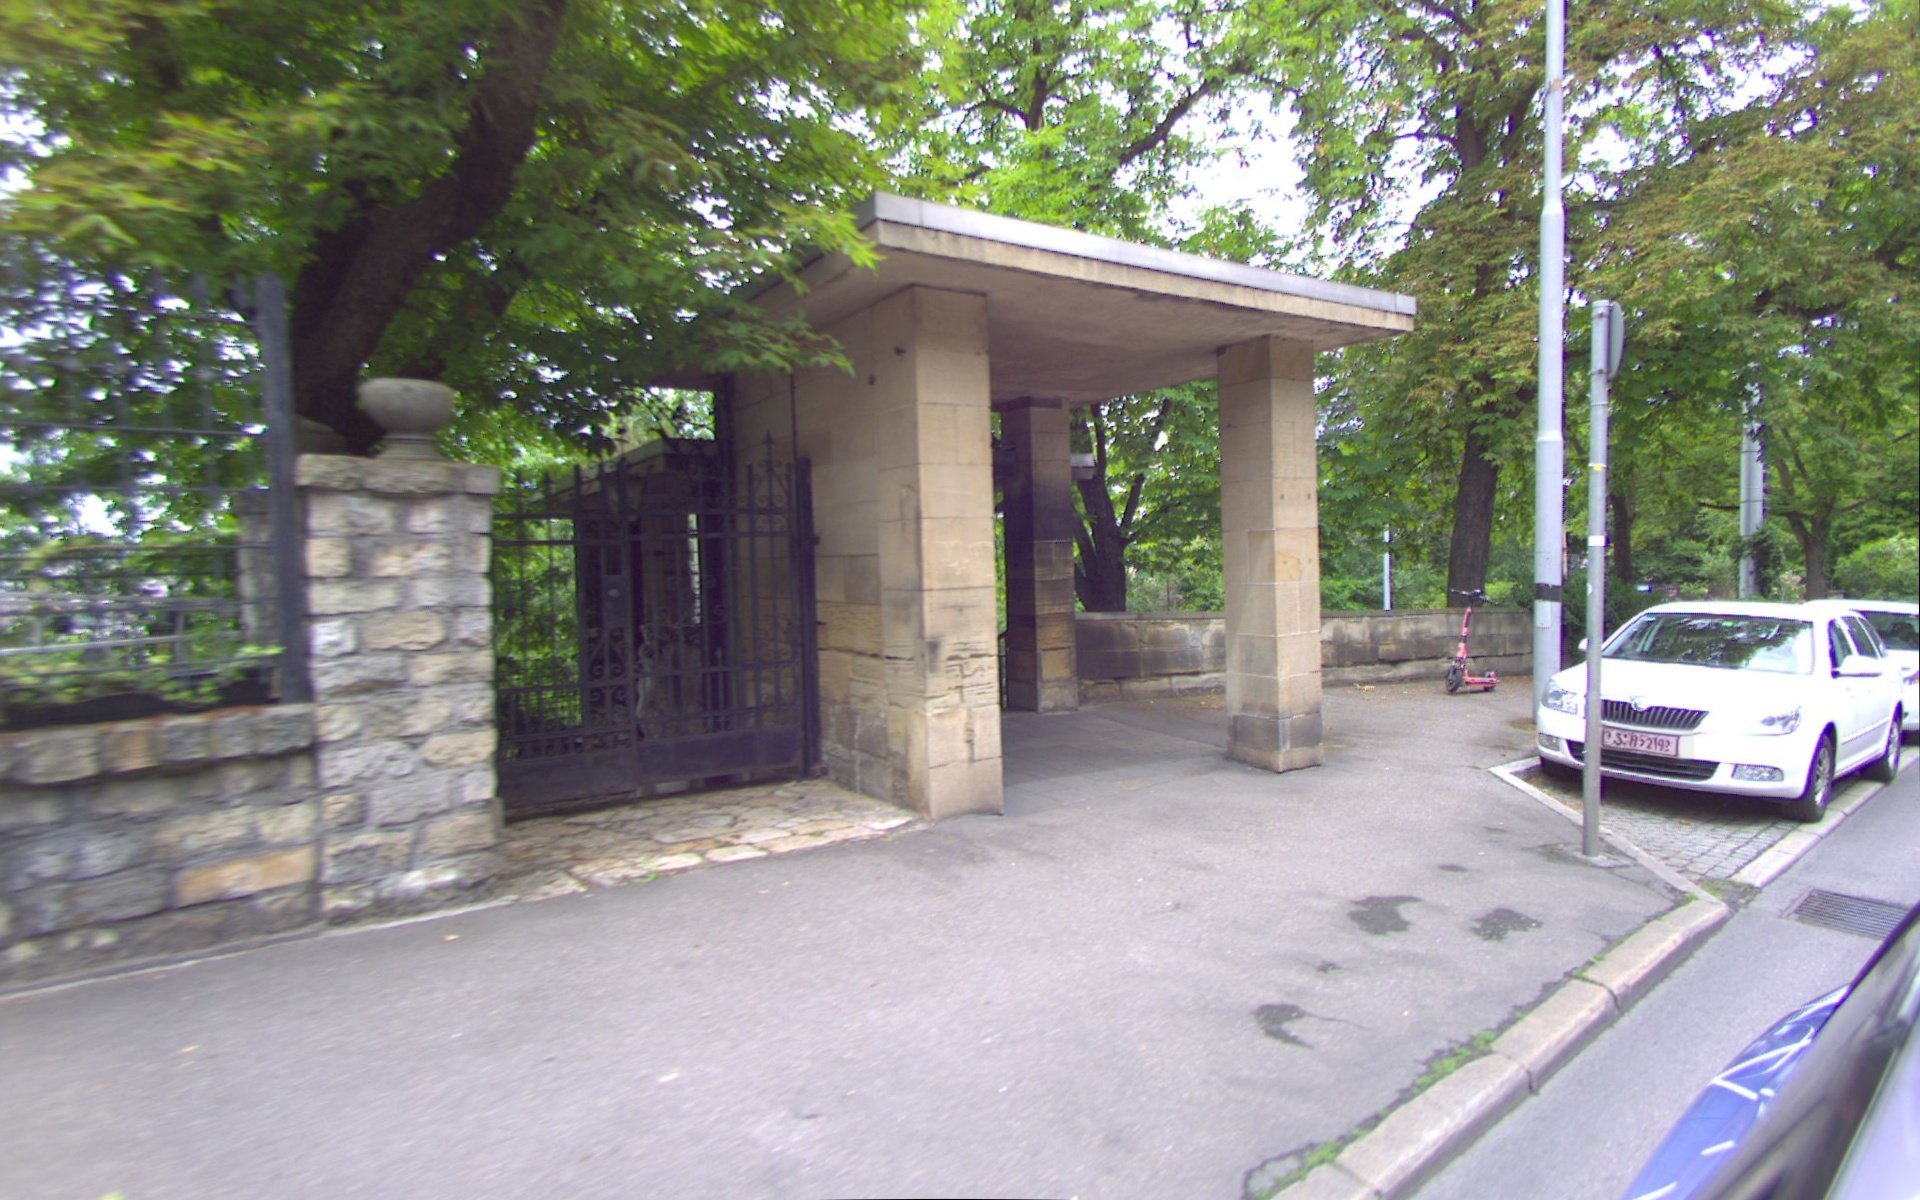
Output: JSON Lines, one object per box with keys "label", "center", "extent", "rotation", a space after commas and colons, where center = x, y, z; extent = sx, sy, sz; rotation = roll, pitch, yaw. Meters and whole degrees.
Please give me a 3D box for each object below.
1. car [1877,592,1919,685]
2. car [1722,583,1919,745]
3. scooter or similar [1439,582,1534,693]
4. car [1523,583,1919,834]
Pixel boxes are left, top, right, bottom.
{"label": "car", "center": [16.618, 0.633, 16.721], "extent": [3.362, 1.439, 1.566], "rotation": [0, 4, -38]}
{"label": "car", "center": [10.470, 0.638, 11.714], "extent": [3.966, 1.489, 1.719], "rotation": [1, 4, -40]}
{"label": "scooter or similar", "center": [6.431, 0.442, 12.352], "extent": [1.146, 1.275, 0.518], "rotation": [1, 3, -36]}
{"label": "car", "center": [6.370, 0.651, 8.178], "extent": [4.287, 1.479, 1.680], "rotation": [0, 2, -39]}
